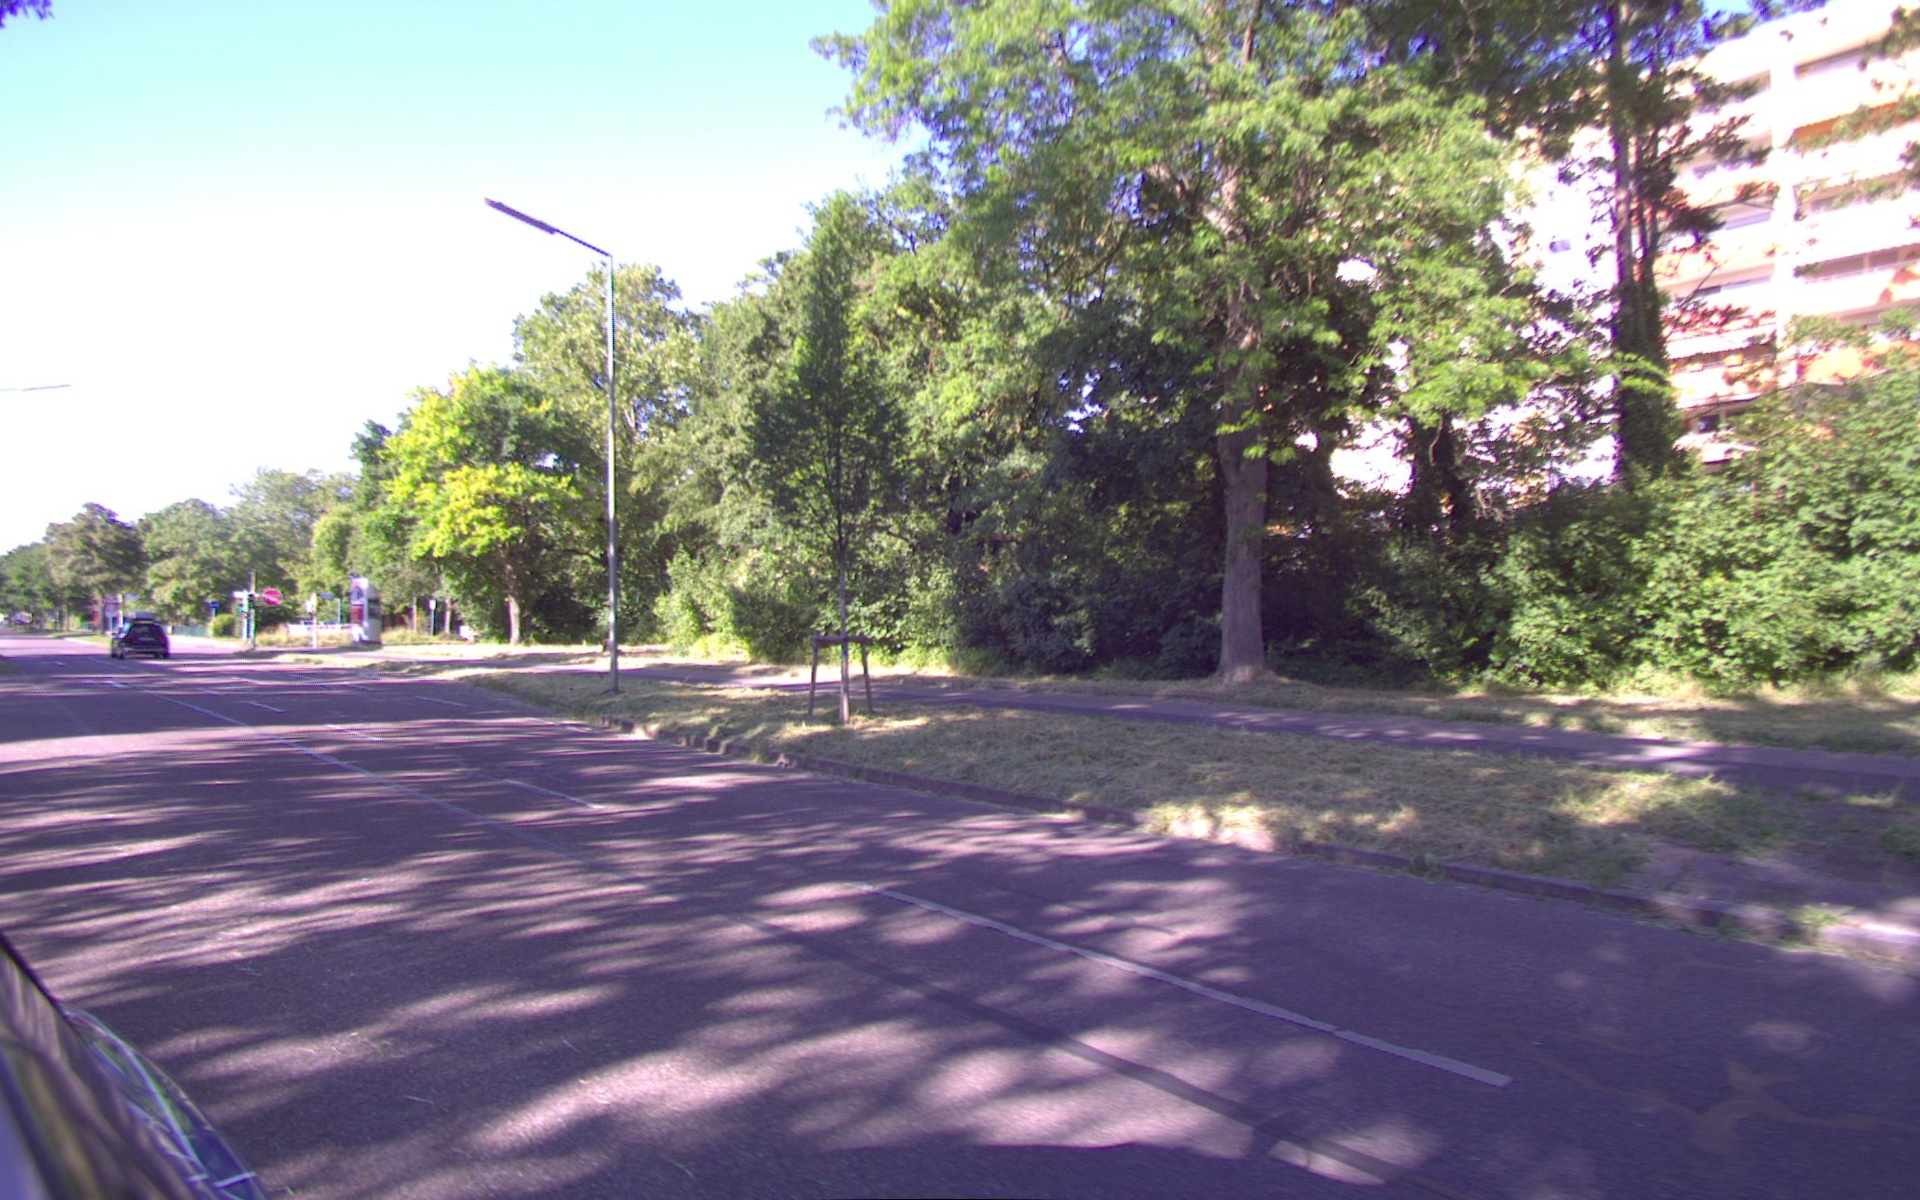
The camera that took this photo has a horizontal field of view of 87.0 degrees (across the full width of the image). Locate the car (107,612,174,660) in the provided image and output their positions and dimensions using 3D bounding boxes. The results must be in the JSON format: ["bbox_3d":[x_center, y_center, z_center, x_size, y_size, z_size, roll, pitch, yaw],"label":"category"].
[{"bbox_3d":[-37.146,1.638,45.850,3.642,2.111,1.878,-2,-4,44],"label":"car"}]
